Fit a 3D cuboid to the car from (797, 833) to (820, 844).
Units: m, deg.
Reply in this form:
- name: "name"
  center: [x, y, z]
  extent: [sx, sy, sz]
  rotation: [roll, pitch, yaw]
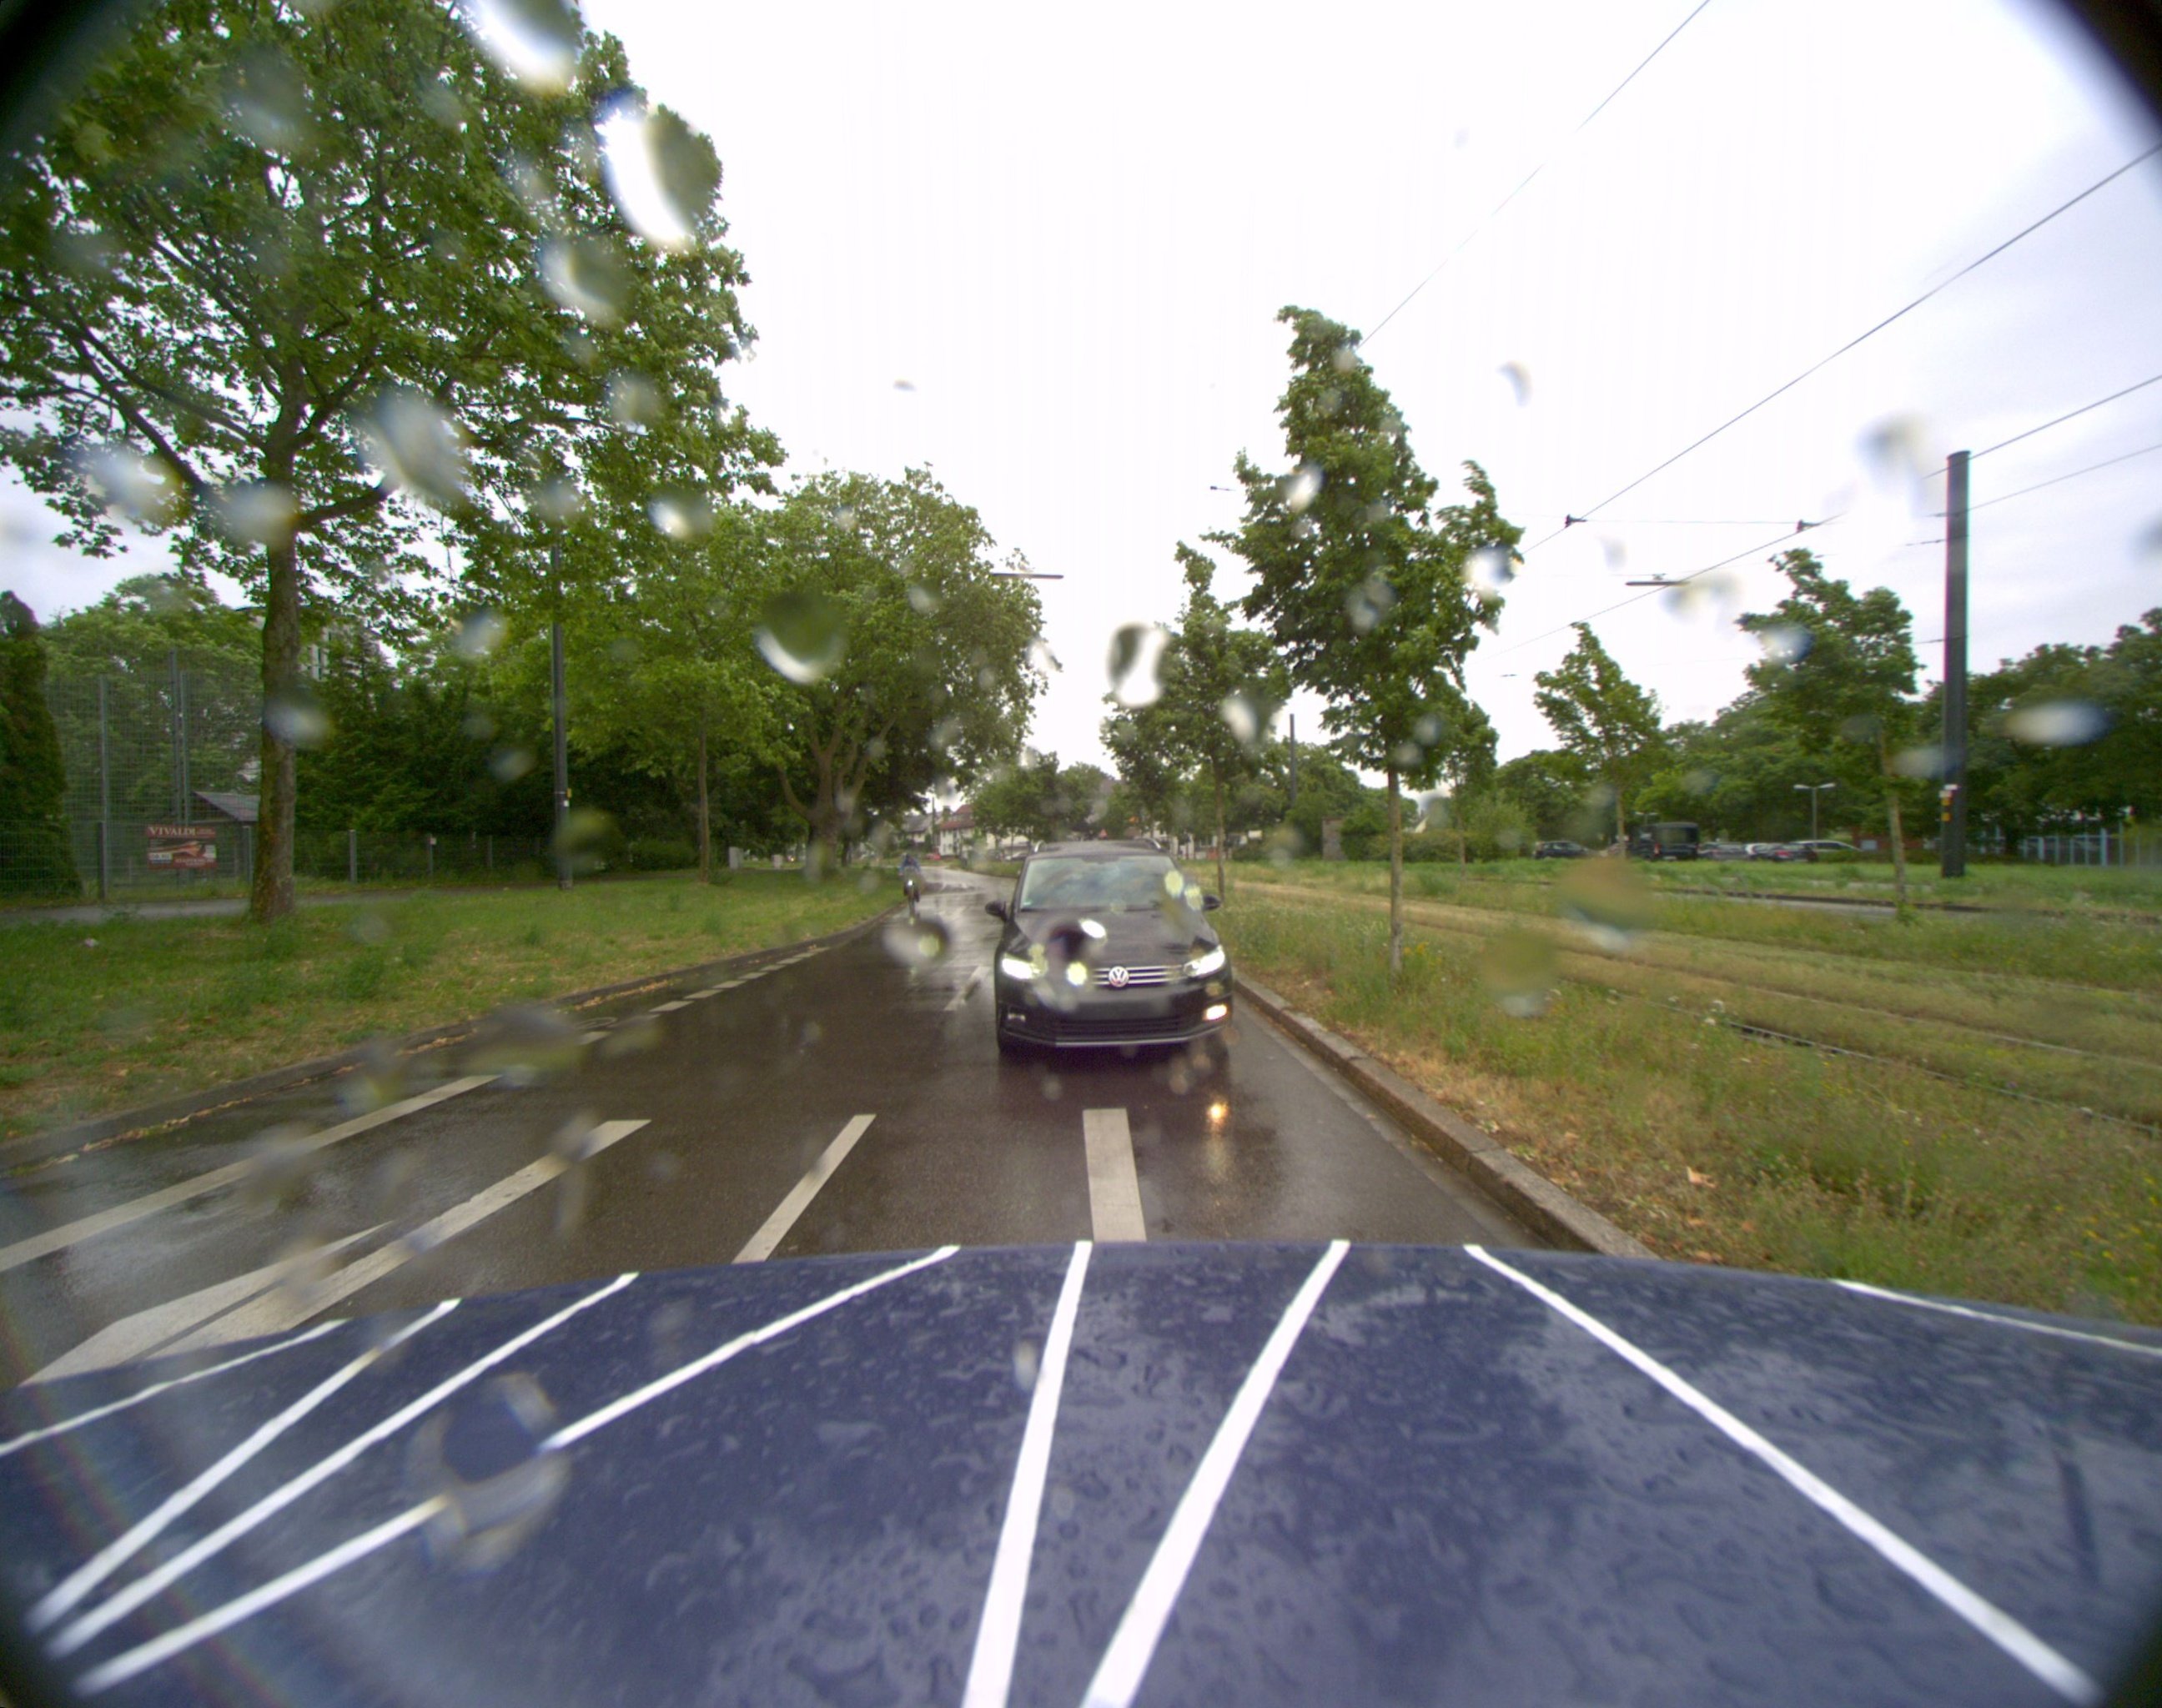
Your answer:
- name: "car"
  center: [-51.654, -2.963, 143.939]
  extent: [4.004, 1.816, 1.996]
  rotation: [-3, 1, -24]

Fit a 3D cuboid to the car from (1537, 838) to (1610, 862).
- name: "car"
  center: [34.742, -0.282, 53.724]
  extent: [4.172, 1.474, 1.786]
  rotation: [-2, 1, 27]

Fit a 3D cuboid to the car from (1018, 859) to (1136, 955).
- name: "car"
  center: [-0.124, 0.839, 13.816]
  extent: [1.788, 1.355, 3.996]
  rotation: [-2, 1, -2]

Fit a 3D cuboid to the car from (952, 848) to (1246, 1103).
- name: "car"
  center: [0.146, 0.784, 7.237]
  extent: [1.866, 1.592, 4.524]
  rotation: [-2, 1, 1]

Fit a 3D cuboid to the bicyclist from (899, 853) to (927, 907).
- name: "bicyclist"
  center: [-4.898, 0.742, 22.175]
  extent: [0.693, 1.497, 0.843]
  rotation: [-2, 2, -8]

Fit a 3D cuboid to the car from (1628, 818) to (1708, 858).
- name: "car"
  center: [31.992, -0.876, 41.595]
  extent: [2.307, 2.002, 5.125]
  rotation: [-2, 1, 24]

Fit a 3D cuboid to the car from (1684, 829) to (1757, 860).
- name: "car"
  center: [34.631, -0.560, 41.277]
  extent: [1.752, 1.522, 4.856]
  rotation: [-2, 1, 24]

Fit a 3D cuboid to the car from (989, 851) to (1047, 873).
- name: "car"
  center: [-4.648, 0.568, 55.498]
  extent: [4.046, 1.412, 1.674]
  rotation: [-2, 1, -10]

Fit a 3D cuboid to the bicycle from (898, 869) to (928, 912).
- name: "bicycle"
  center: [-4.891, 1.051, 22.188]
  extent: [0.693, 1.110, 1.883]
  rotation: [-2, 1, -8]

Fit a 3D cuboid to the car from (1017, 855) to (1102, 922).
- name: "car"
  center: [-0.646, 0.783, 19.112]
  extent: [1.789, 1.396, 3.791]
  rotation: [-2, 1, -6]

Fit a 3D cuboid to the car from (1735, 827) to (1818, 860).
- name: "car"
  center: [36.543, -0.592, 40.076]
  extent: [2.057, 1.564, 5.024]
  rotation: [-2, 1, 29]
